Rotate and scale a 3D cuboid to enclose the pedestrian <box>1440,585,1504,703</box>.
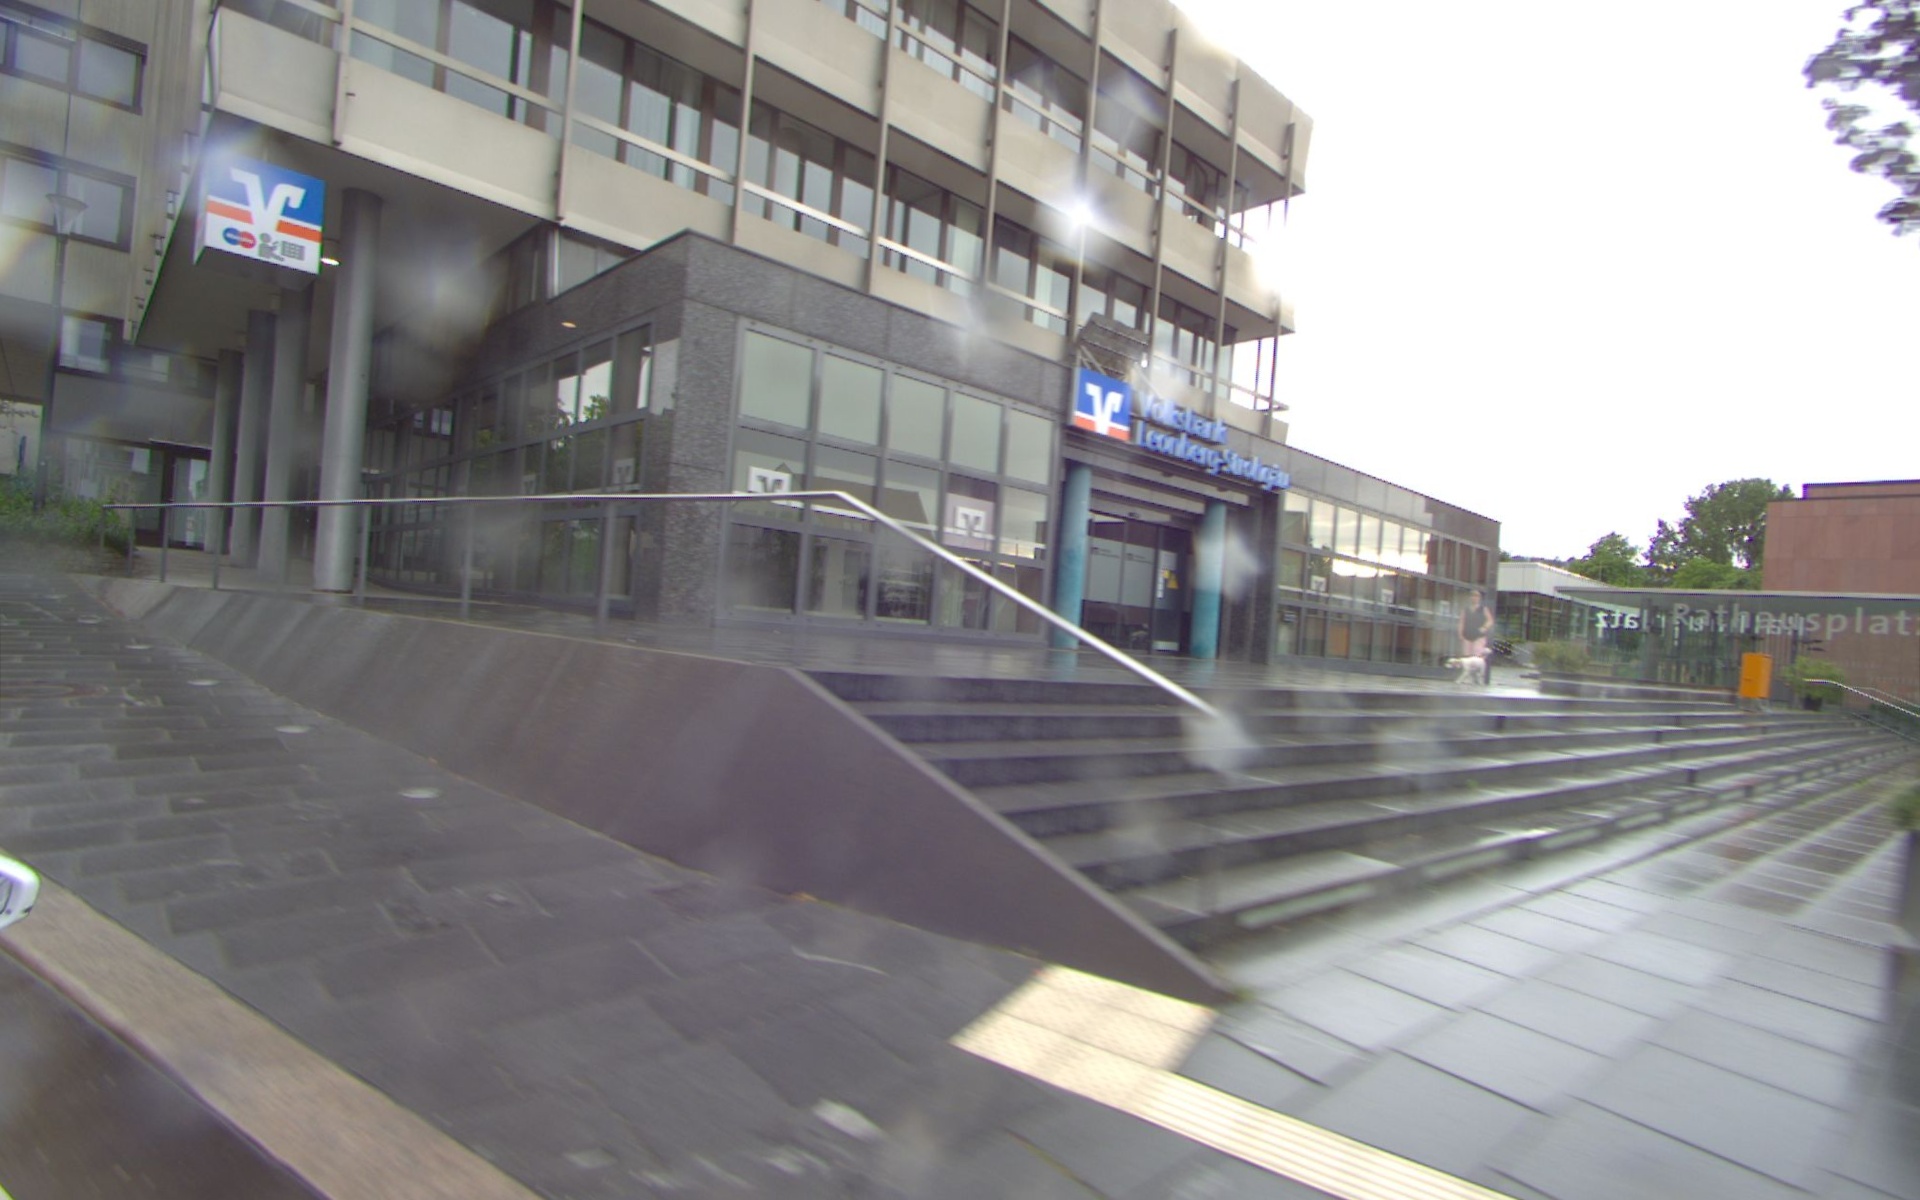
[{"bbox_3d":[9.804,0.840,19.264,0.753,2.175,0.652,4,2,-37],"label":"pedestrian"}]
